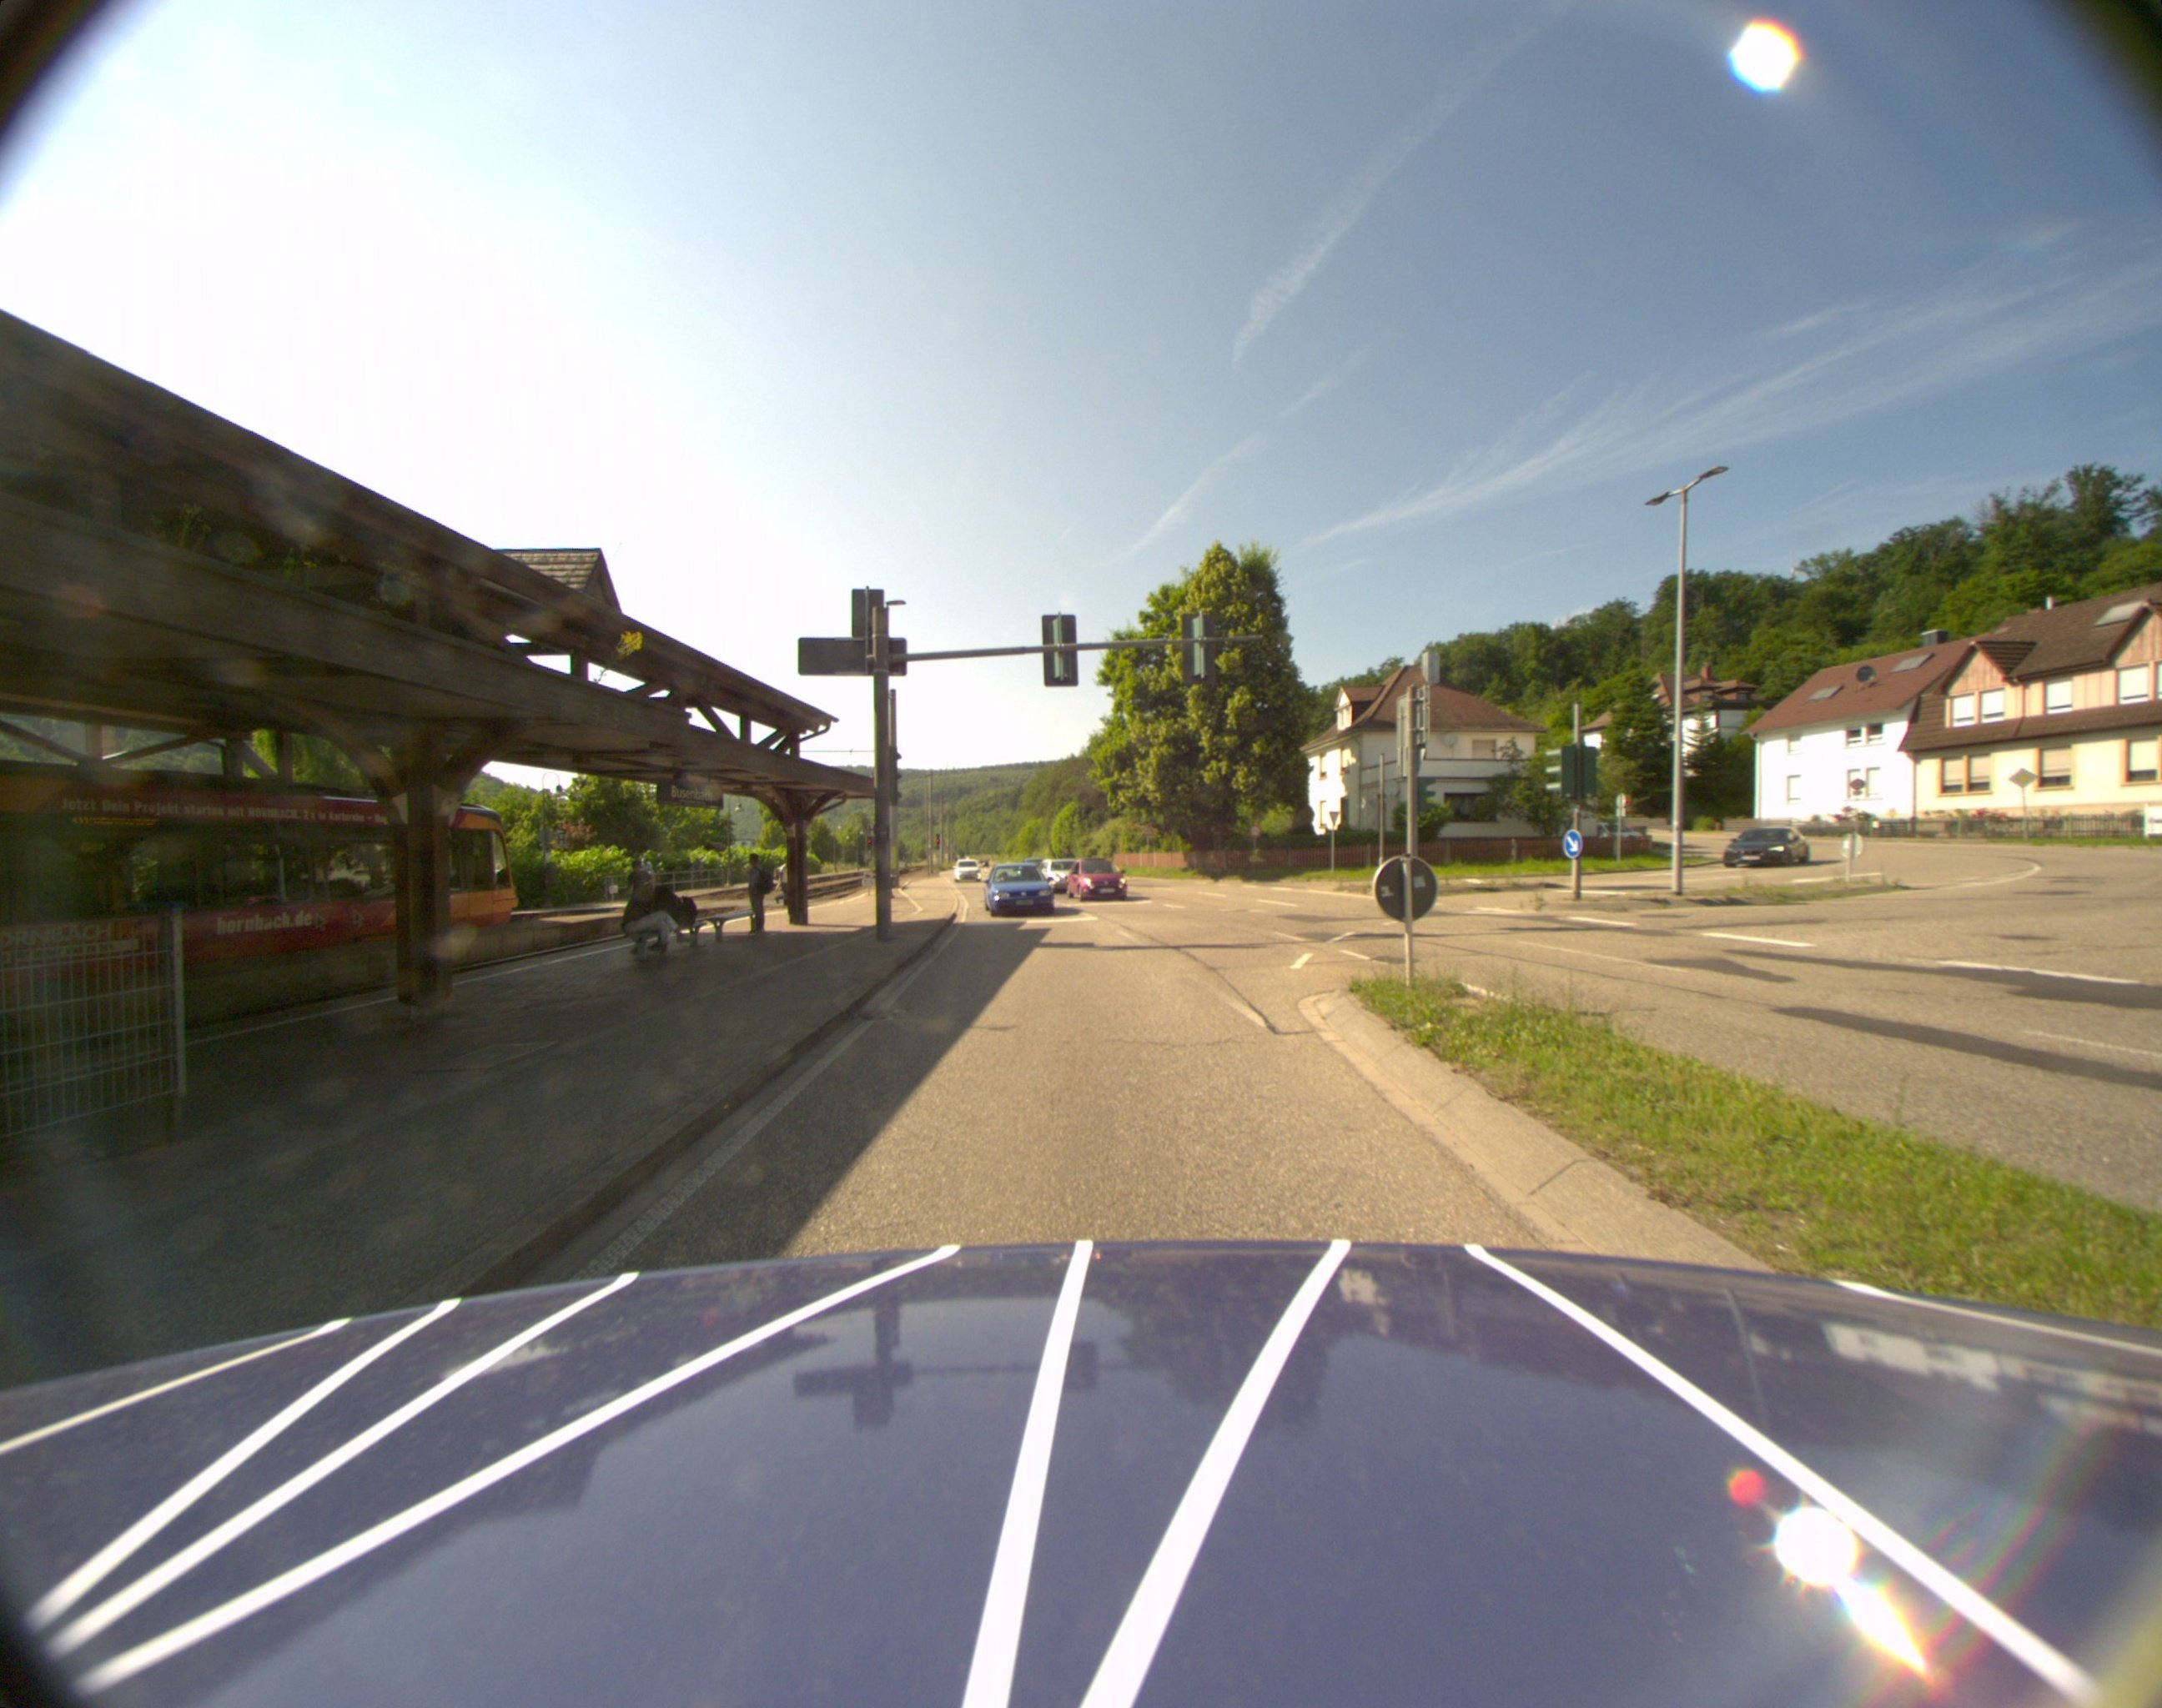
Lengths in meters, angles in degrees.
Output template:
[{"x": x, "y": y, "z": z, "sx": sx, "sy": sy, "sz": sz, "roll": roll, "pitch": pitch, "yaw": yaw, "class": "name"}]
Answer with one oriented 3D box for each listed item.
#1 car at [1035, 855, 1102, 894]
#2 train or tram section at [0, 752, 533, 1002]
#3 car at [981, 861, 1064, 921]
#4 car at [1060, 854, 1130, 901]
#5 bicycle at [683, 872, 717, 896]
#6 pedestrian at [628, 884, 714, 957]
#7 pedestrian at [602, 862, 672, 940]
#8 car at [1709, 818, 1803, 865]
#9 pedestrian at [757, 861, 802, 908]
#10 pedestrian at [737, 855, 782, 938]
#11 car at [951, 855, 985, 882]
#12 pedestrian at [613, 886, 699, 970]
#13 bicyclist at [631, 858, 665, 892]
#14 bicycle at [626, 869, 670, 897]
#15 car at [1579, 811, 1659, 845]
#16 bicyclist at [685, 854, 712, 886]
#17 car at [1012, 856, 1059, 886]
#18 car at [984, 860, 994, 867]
[{"x": -0.650, "y": 0.887, "z": 33.105, "sx": 1.981, "sy": 1.495, "sz": 4.747, "roll": -3, "pitch": -1, "yaw": -12, "class": "car"}, {"x": -15.942, "y": 0.356, "z": 12.888, "sx": 2.863, "sy": 3.345, "sz": 14.352, "roll": -3, "pitch": 0, "yaw": -1, "class": "train or tram section"}, {"x": -1.772, "y": 0.966, "z": 21.738, "sx": 1.867, "sy": 1.474, "sz": 4.298, "roll": -2, "pitch": 0, "yaw": -10, "class": "car"}, {"x": 0.429, "y": 0.811, "z": 27.321, "sx": 1.662, "sy": 1.525, "sz": 3.952, "roll": -2, "pitch": 0, "yaw": -11, "class": "car"}, {"x": -21.485, "y": 1.691, "z": 42.941, "sx": 0.873, "sy": 1.246, "sz": 2.295, "roll": -4, "pitch": -1, "yaw": -5, "class": "bicycle"}, {"x": -7.199, "y": 1.148, "z": 13.396, "sx": 1.009, "sy": 1.153, "sz": 0.948, "roll": -3, "pitch": 1, "yaw": -9, "class": "pedestrian"}, {"x": -9.186, "y": 0.961, "z": 15.753, "sx": 0.863, "sy": 1.538, "sz": 0.922, "roll": -2, "pitch": 0, "yaw": -1, "class": "pedestrian"}, {"x": 25.496, "y": -0.499, "z": 28.653, "sx": 4.007, "sy": 1.499, "sz": 1.995, "roll": -3, "pitch": -1, "yaw": -40, "class": "car"}, {"x": -11.822, "y": 1.190, "z": 29.804, "sx": 1.250, "sy": 1.726, "sz": 0.917, "roll": -4, "pitch": 0, "yaw": 6, "class": "pedestrian"}, {"x": -6.780, "y": 0.873, "z": 16.060, "sx": 0.659, "sy": 1.682, "sz": 0.738, "roll": -2, "pitch": 1, "yaw": -9, "class": "pedestrian"}, {"x": -7.541, "y": 0.954, "z": 50.651, "sx": 2.000, "sy": 1.575, "sz": 3.997, "roll": -4, "pitch": 0, "yaw": -9, "class": "car"}, {"x": -6.803, "y": 1.162, "z": 12.207, "sx": 0.994, "sy": 1.228, "sz": 0.596, "roll": -4, "pitch": 0, "yaw": -9, "class": "pedestrian"}, {"x": -20.575, "y": 0.991, "z": 36.123, "sx": 1.010, "sy": 1.544, "sz": 1.041, "roll": -4, "pitch": -1, "yaw": -5, "class": "bicyclist"}, {"x": -20.566, "y": 1.359, "z": 36.155, "sx": 0.873, "sy": 1.246, "sz": 2.295, "roll": -4, "pitch": -1, "yaw": -5, "class": "bicycle"}, {"x": 30.319, "y": -1.425, "z": 42.980, "sx": 1.938, "sy": 1.627, "sz": 4.002, "roll": -4, "pitch": -1, "yaw": 7, "class": "car"}, {"x": -21.583, "y": 0.917, "z": 42.854, "sx": 1.010, "sy": 1.716, "sz": 0.866, "roll": -4, "pitch": 0, "yaw": -5, "class": "bicyclist"}, {"x": -2.609, "y": 0.957, "z": 42.366, "sx": 1.981, "sy": 1.495, "sz": 3.983, "roll": -3, "pitch": -1, "yaw": -12, "class": "car"}, {"x": -25.061, "y": 2.612, "z": 207.533, "sx": 2.001, "sy": 1.674, "sz": 3.996, "roll": -4, "pitch": -1, "yaw": -15, "class": "car"}]
